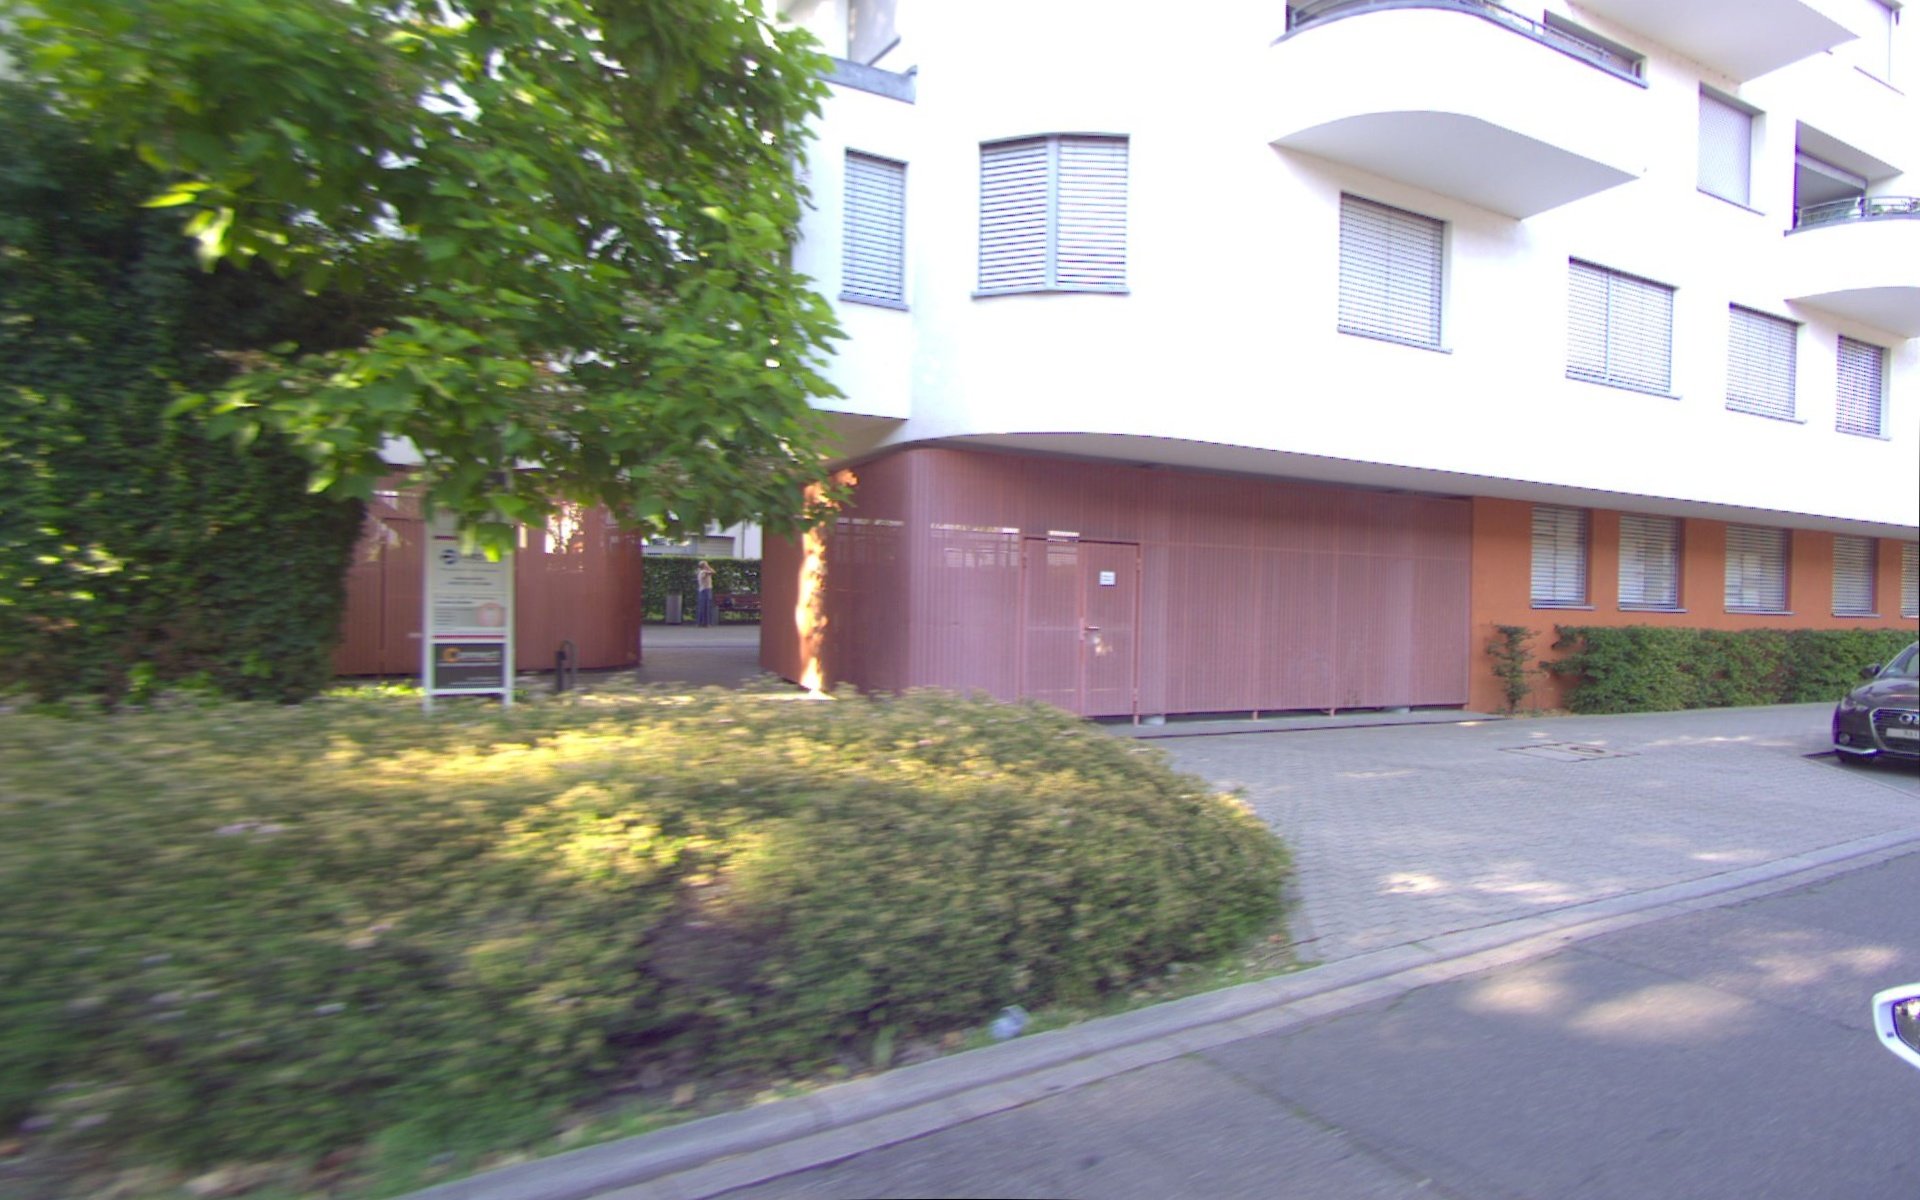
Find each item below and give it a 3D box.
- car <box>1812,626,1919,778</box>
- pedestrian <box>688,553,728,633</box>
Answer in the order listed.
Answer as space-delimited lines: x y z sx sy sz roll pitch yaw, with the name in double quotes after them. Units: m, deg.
11.148 1.088 10.948 3.727 1.452 1.666 2 2 -31 "car"
-6.536 -0.181 25.999 0.815 2.040 0.736 2 1 -26 "pedestrian"
